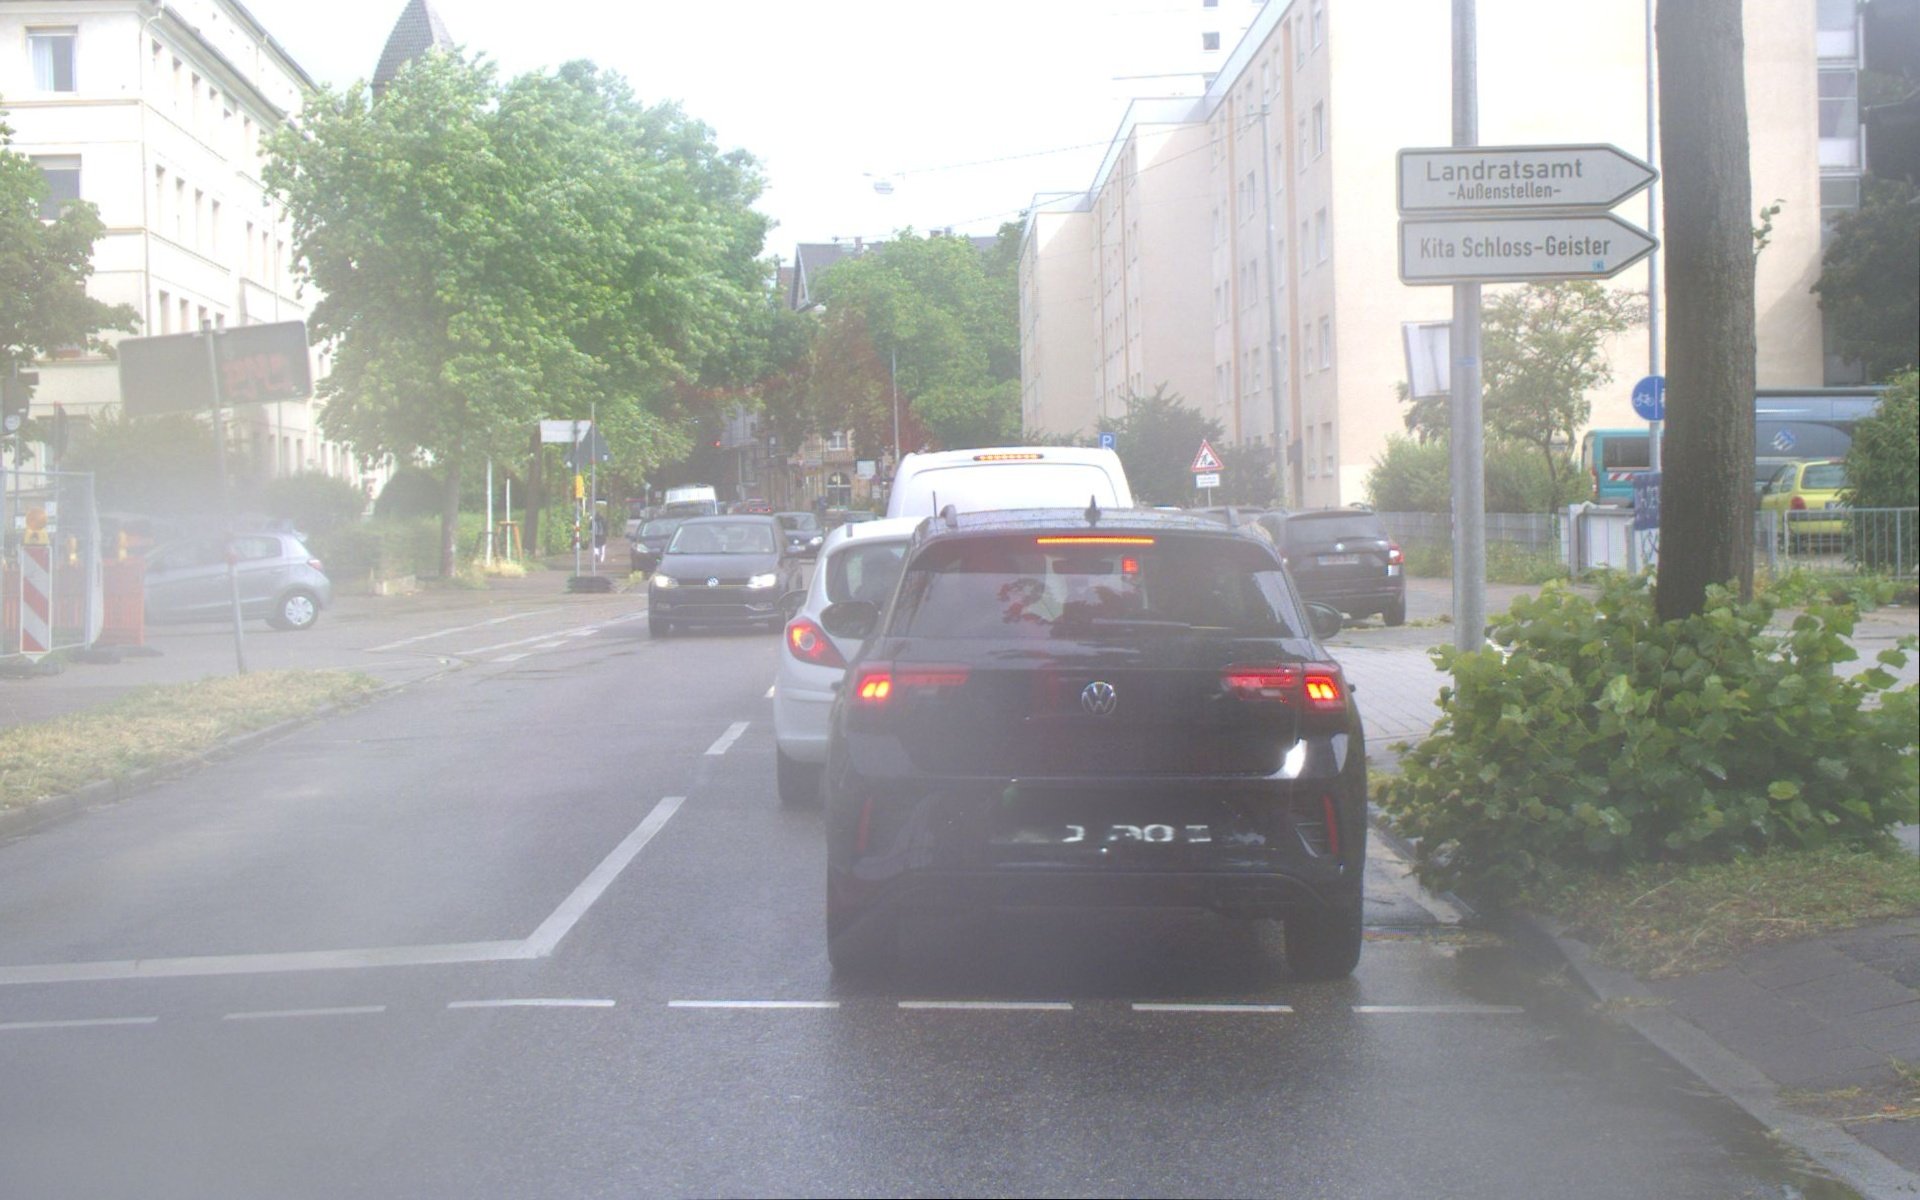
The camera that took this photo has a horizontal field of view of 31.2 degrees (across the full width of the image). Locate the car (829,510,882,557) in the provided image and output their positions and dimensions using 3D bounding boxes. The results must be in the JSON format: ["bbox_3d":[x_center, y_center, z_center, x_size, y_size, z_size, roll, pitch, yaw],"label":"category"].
[{"bbox_3d":[-3.873,-2.490,128.133,1.740,1.602,3.675,-3,2,1],"label":"car"}]

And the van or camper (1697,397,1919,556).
[{"bbox_3d":[15.038,-2.053,57.348,4.998,2.545,2.175,-1,1,1],"label":"van or camper"}]

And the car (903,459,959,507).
[{"bbox_3d":[-1.010,-4.125,121.608,1.841,1.602,3.675,-3,2,1],"label":"car"}]

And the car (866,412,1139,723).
[{"bbox_3d":[0.347,-0.249,25.396,1.836,2.095,4.000,1,1,2],"label":"car"}]

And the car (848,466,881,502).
[{"bbox_3d":[-5.122,-6.197,184.304,1.665,1.831,4.001,-2,2,-2],"label":"car"}]

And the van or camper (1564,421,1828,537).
[{"bbox_3d":[14.436,-2.378,67.649,4.760,2.124,2.321,-1,2,4],"label":"van or camper"}]

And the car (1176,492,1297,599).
[{"bbox_3d":[4.281,-0.825,53.609,1.757,1.522,3.999,2,0,4],"label":"car"}]

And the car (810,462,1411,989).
[{"bbox_3d":[0.462,0.360,12.822,1.873,1.640,4.062,0,1,0],"label":"car"}]

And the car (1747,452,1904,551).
[{"bbox_3d":[13.461,-1.544,53.634,1.610,1.444,3.417,-2,2,1],"label":"car"}]

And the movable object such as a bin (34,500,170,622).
[{"bbox_3d":[-13.337,-0.609,53.444,1.539,1.818,1.262,-1,2,19],"label":"movable object such as a bin"}]

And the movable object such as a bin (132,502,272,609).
[{"bbox_3d":[-12.455,-0.741,56.542,1.539,1.668,1.664,-1,2,19],"label":"movable object such as a bin"}]

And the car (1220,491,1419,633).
[{"bbox_3d":[4.338,-0.508,42.062,1.774,1.534,4.379,-4,2,-2],"label":"car"}]

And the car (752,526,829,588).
[{"bbox_3d":[-4.785,-1.237,97.418,1.841,1.602,4.000,-3,2,1],"label":"car"}]

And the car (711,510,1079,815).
[{"bbox_3d":[-0.329,0.282,19.082,1.813,1.498,4.000,1,1,0],"label":"car"}]

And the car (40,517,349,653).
[{"bbox_3d":[-10.917,-0.215,48.976,3.986,1.631,1.896,-4,1,-20],"label":"car"}]

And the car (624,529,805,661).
[{"bbox_3d":[-2.964,-0.089,42.218,1.813,1.535,3.982,0,1,2],"label":"car"}]

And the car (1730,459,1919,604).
[{"bbox_3d":[11.325,-0.920,44.618,1.804,1.744,4.238,-2,2,2],"label":"car"}]

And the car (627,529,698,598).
[{"bbox_3d":[-7.107,-0.898,82.235,1.585,1.500,4.065,-3,2,-5],"label":"car"}]

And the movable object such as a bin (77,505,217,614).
[{"bbox_3d":[-12.987,-0.660,54.983,1.539,1.650,1.526,-1,2,19],"label":"movable object such as a bin"}]
